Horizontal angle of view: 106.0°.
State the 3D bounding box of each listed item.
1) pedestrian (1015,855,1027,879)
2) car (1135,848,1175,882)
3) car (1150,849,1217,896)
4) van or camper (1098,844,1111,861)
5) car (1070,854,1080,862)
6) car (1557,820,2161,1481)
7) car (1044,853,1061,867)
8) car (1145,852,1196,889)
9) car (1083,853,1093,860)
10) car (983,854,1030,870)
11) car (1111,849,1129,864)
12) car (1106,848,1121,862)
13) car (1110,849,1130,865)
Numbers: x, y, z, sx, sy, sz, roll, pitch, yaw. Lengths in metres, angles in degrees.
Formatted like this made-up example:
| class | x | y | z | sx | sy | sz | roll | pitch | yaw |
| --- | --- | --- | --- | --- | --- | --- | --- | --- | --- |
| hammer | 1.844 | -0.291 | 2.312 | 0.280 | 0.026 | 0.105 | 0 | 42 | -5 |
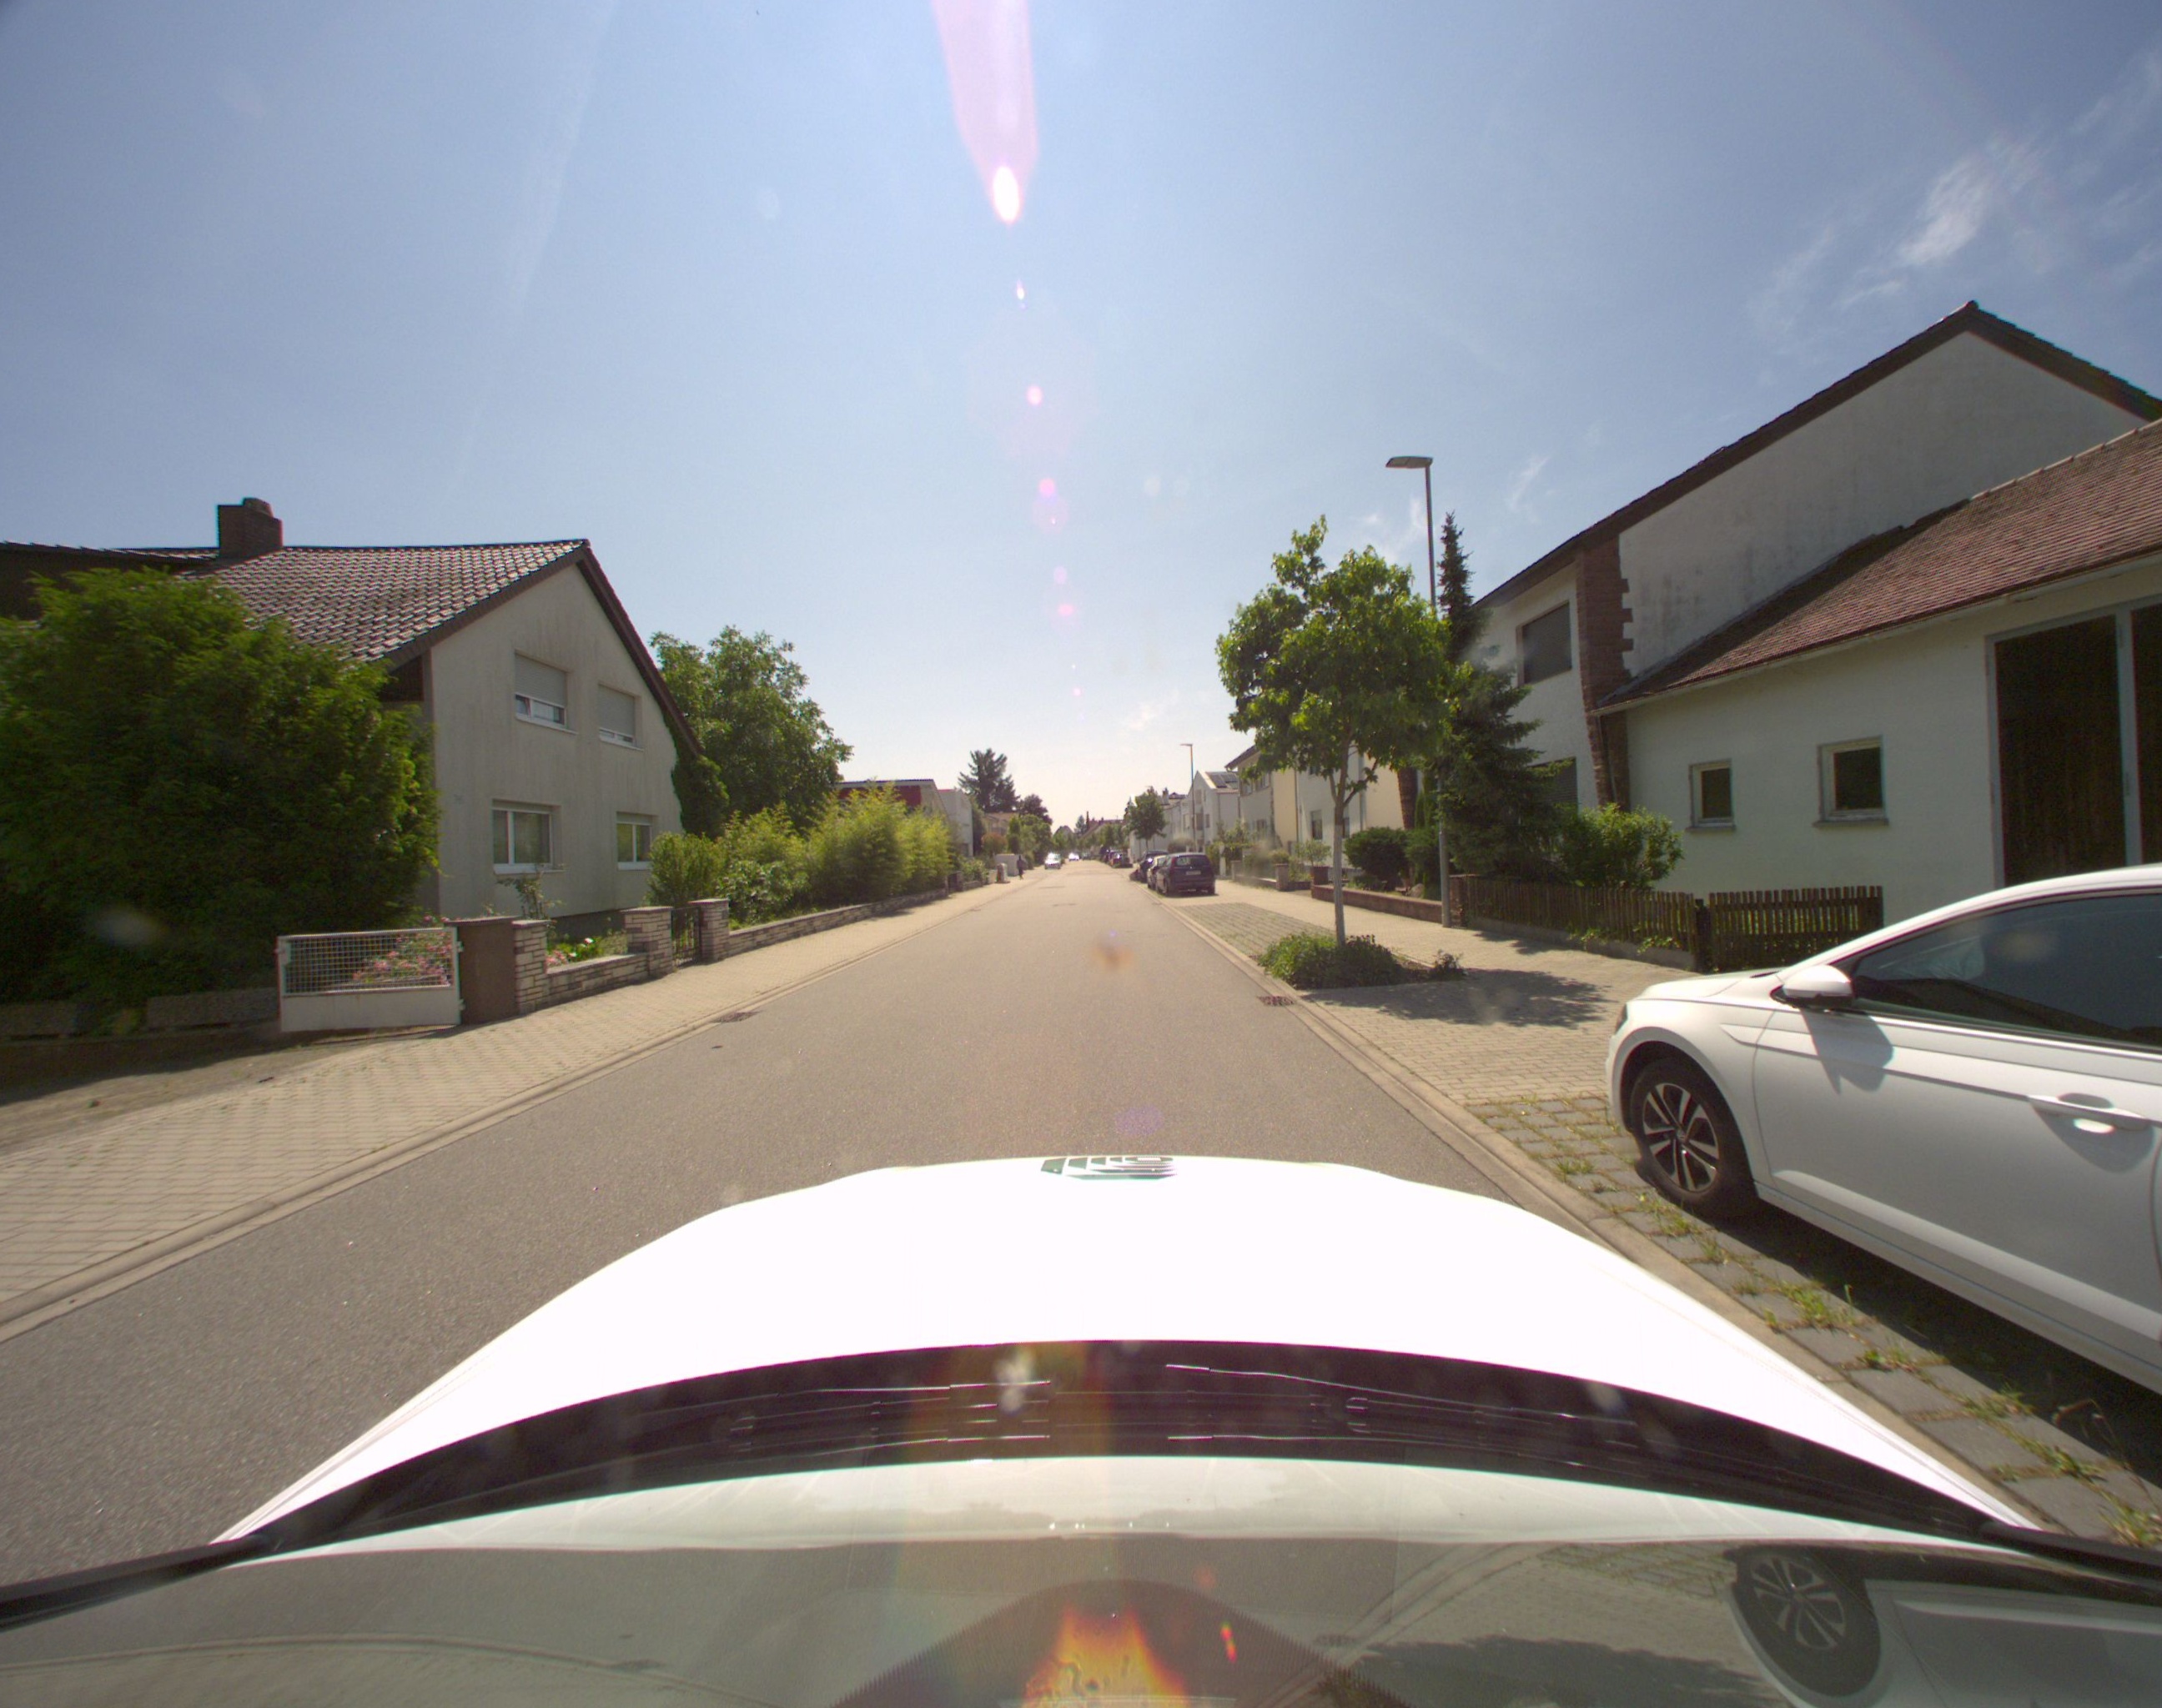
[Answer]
| class | x | y | z | sx | sy | sz | roll | pitch | yaw |
| --- | --- | --- | --- | --- | --- | --- | --- | --- | --- |
| pedestrian | -4.371 | 0.963 | 59.698 | 0.712 | 1.747 | 0.961 | -2 | 0 | 0 |
| car | 3.966 | 0.558 | 44.519 | 1.808 | 1.656 | 4.565 | -2 | 1 | 1 |
| car | 3.653 | 0.626 | 29.654 | 1.737 | 1.533 | 4.446 | -2 | 0 | -2 |
| van or camper | 4.136 | -0.225 | 143.866 | 1.987 | 2.941 | 4.000 | -2 | 0 | 0 |
| car | -1.227 | 0.801 | 165.674 | 1.846 | 1.478 | 4.702 | -2 | 0 | 2 |
| car | 3.243 | 0.621 | 2.092 | 1.808 | 1.420 | 3.869 | -2 | 0 | 1 |
| car | -3.340 | 0.666 | 96.408 | 1.846 | 1.488 | 4.385 | -2 | 0 | 1 |
| car | 3.810 | 0.680 | 35.300 | 1.808 | 1.420 | 4.094 | -2 | 0 | 1 |
| car | 1.474 | 0.555 | 169.099 | 1.986 | 1.430 | 4.002 | -2 | 0 | 2 |
| car | -7.506 | 0.791 | 82.119 | 4.409 | 1.473 | 1.853 | 1 | 0 | 4 |
| car | 4.962 | 0.328 | 104.701 | 2.092 | 1.882 | 4.844 | -2 | 0 | 1 |
| car | 4.691 | 0.163 | 119.002 | 1.987 | 1.947 | 5.215 | -3 | 0 | 1 |
| car | 4.154 | 0.354 | 87.912 | 1.768 | 1.595 | 4.276 | -2 | 0 | -2 |
